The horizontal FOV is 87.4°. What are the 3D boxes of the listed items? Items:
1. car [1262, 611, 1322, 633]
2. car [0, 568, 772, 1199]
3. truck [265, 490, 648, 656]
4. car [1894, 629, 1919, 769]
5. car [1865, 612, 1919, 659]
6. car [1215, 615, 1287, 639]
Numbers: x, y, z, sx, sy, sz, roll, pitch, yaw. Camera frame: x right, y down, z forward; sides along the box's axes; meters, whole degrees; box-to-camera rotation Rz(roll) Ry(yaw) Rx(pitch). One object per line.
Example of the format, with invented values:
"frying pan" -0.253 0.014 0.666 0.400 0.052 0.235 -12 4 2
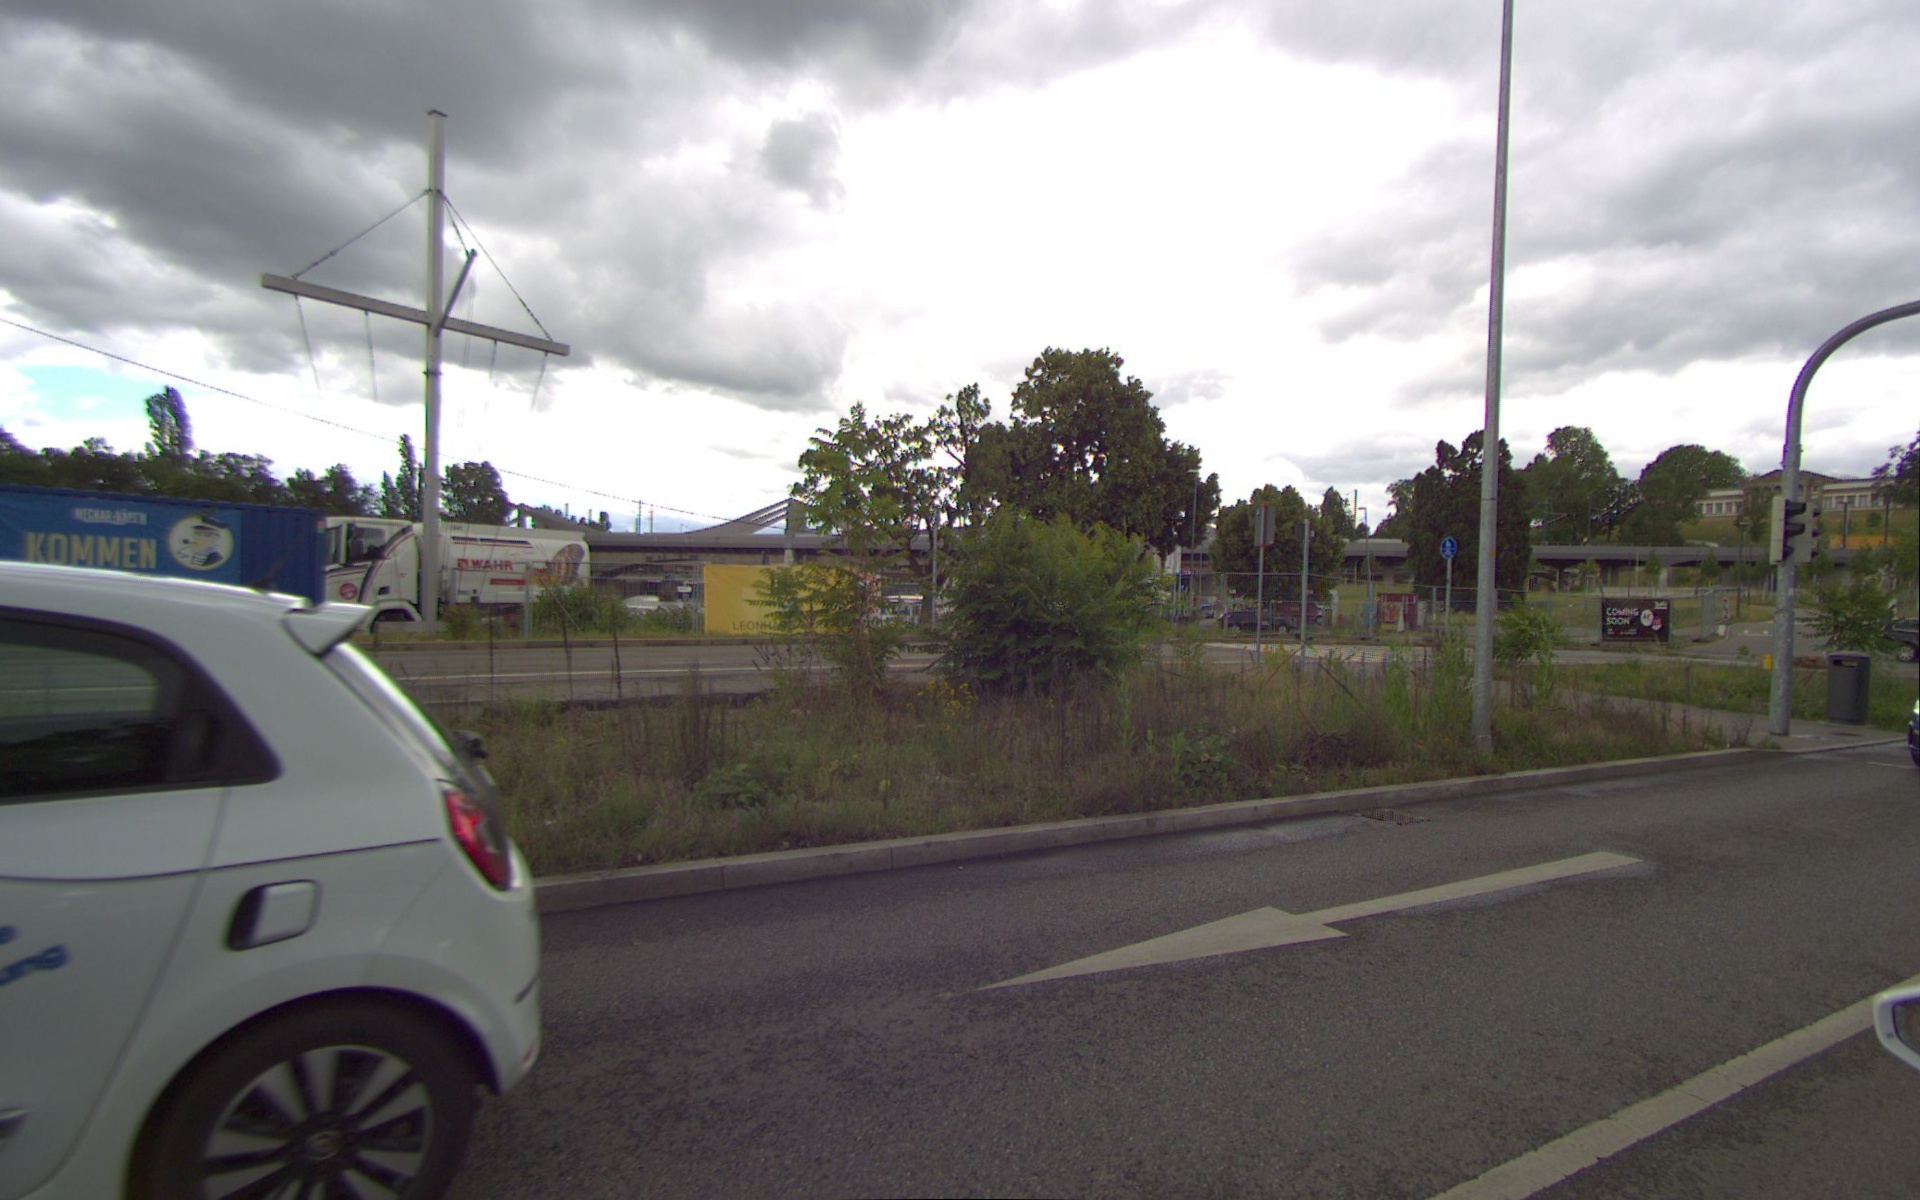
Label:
"car" 21.207 1.390 64.221 3.436 1.309 1.603 1 0 9
"car" -2.626 0.688 2.210 4.038 1.537 1.583 2 1 -31
"truck" -12.327 -0.382 25.692 2.753 3.379 8.461 0 -4 32
"car" 12.170 1.081 11.006 4.395 1.440 1.721 2 -1 -31
"car" 32.979 1.210 32.824 1.969 1.497 4.703 0 1 -20
"car" 17.302 1.599 59.843 3.842 1.309 1.805 1 0 7
